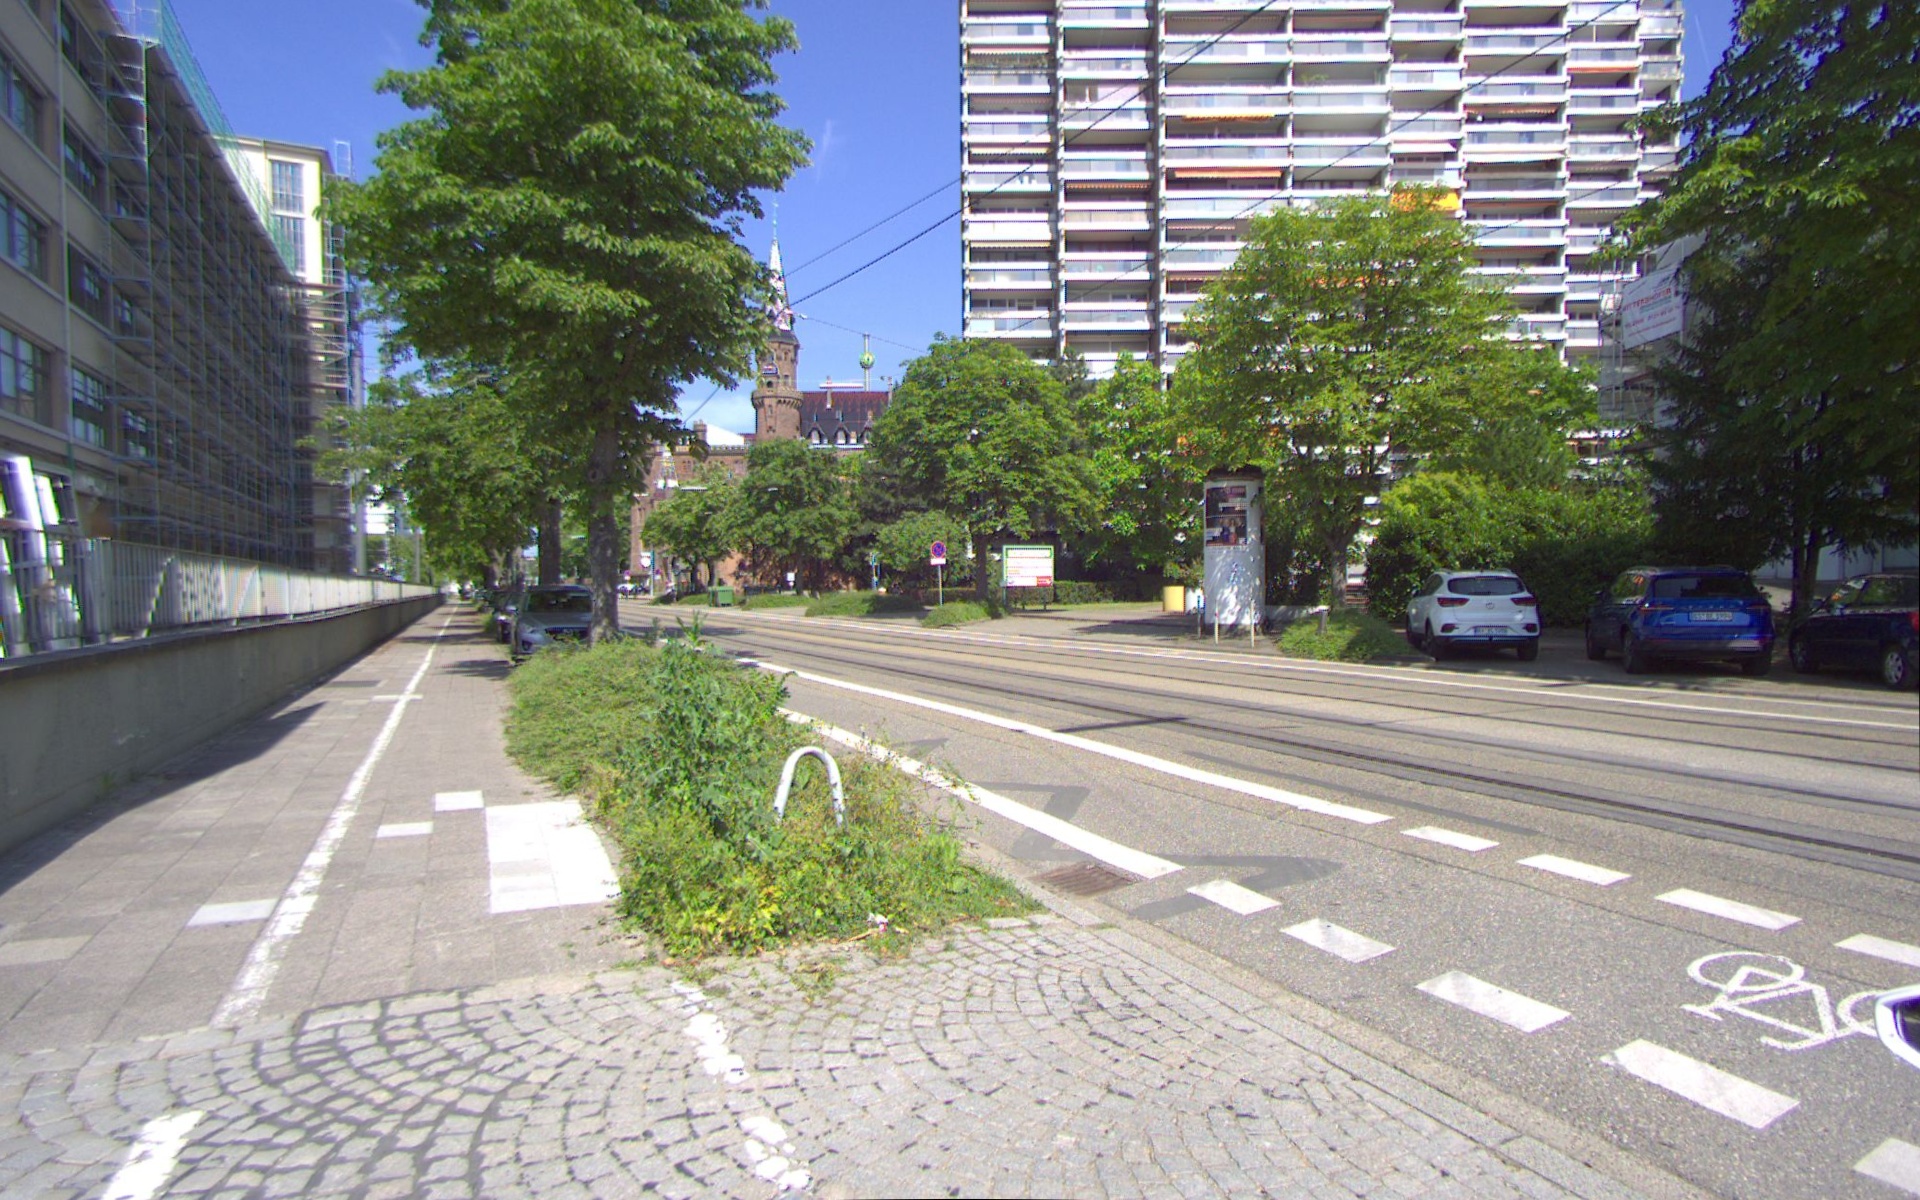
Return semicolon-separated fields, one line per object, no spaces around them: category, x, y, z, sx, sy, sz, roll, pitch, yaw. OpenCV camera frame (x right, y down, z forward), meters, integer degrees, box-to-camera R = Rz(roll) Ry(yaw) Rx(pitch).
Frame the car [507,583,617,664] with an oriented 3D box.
car;-8.463;0.417;21.147;1.797;1.514;4.079;-1;1;-27

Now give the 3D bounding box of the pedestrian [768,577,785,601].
pedestrian;-14.155;-0.828;77.346;1.044;1.822;1.258;1;1;-21

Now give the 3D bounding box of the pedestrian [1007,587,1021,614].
pedestrian;2.312;0.007;43.131;0.524;1.170;0.701;0;1;-5

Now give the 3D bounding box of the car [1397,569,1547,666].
car;9.650;0.284;19.253;1.783;1.628;3.946;-2;0;16

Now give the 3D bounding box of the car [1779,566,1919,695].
car;12.778;0.341;13.519;1.545;1.551;3.458;0;1;18

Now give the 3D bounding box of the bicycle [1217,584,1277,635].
bicycle;7.644;0.241;26.806;0.541;1.326;1.607;-1;1;-32

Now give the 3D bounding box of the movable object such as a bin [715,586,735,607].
movable object such as a bin;-16.748;-0.240;71.453;1.247;1.473;1.074;0;1;-21

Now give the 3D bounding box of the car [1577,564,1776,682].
car;11.391;0.272;16.276;1.746;1.644;3.943;-1;2;22

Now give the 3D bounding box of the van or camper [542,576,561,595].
van or camper;-59.123;-2.055;145.454;2.024;2.655;5.819;-1;1;-27

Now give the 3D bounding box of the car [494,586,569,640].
car;-12.785;0.336;29.866;1.797;1.473;3.972;-1;1;-27
